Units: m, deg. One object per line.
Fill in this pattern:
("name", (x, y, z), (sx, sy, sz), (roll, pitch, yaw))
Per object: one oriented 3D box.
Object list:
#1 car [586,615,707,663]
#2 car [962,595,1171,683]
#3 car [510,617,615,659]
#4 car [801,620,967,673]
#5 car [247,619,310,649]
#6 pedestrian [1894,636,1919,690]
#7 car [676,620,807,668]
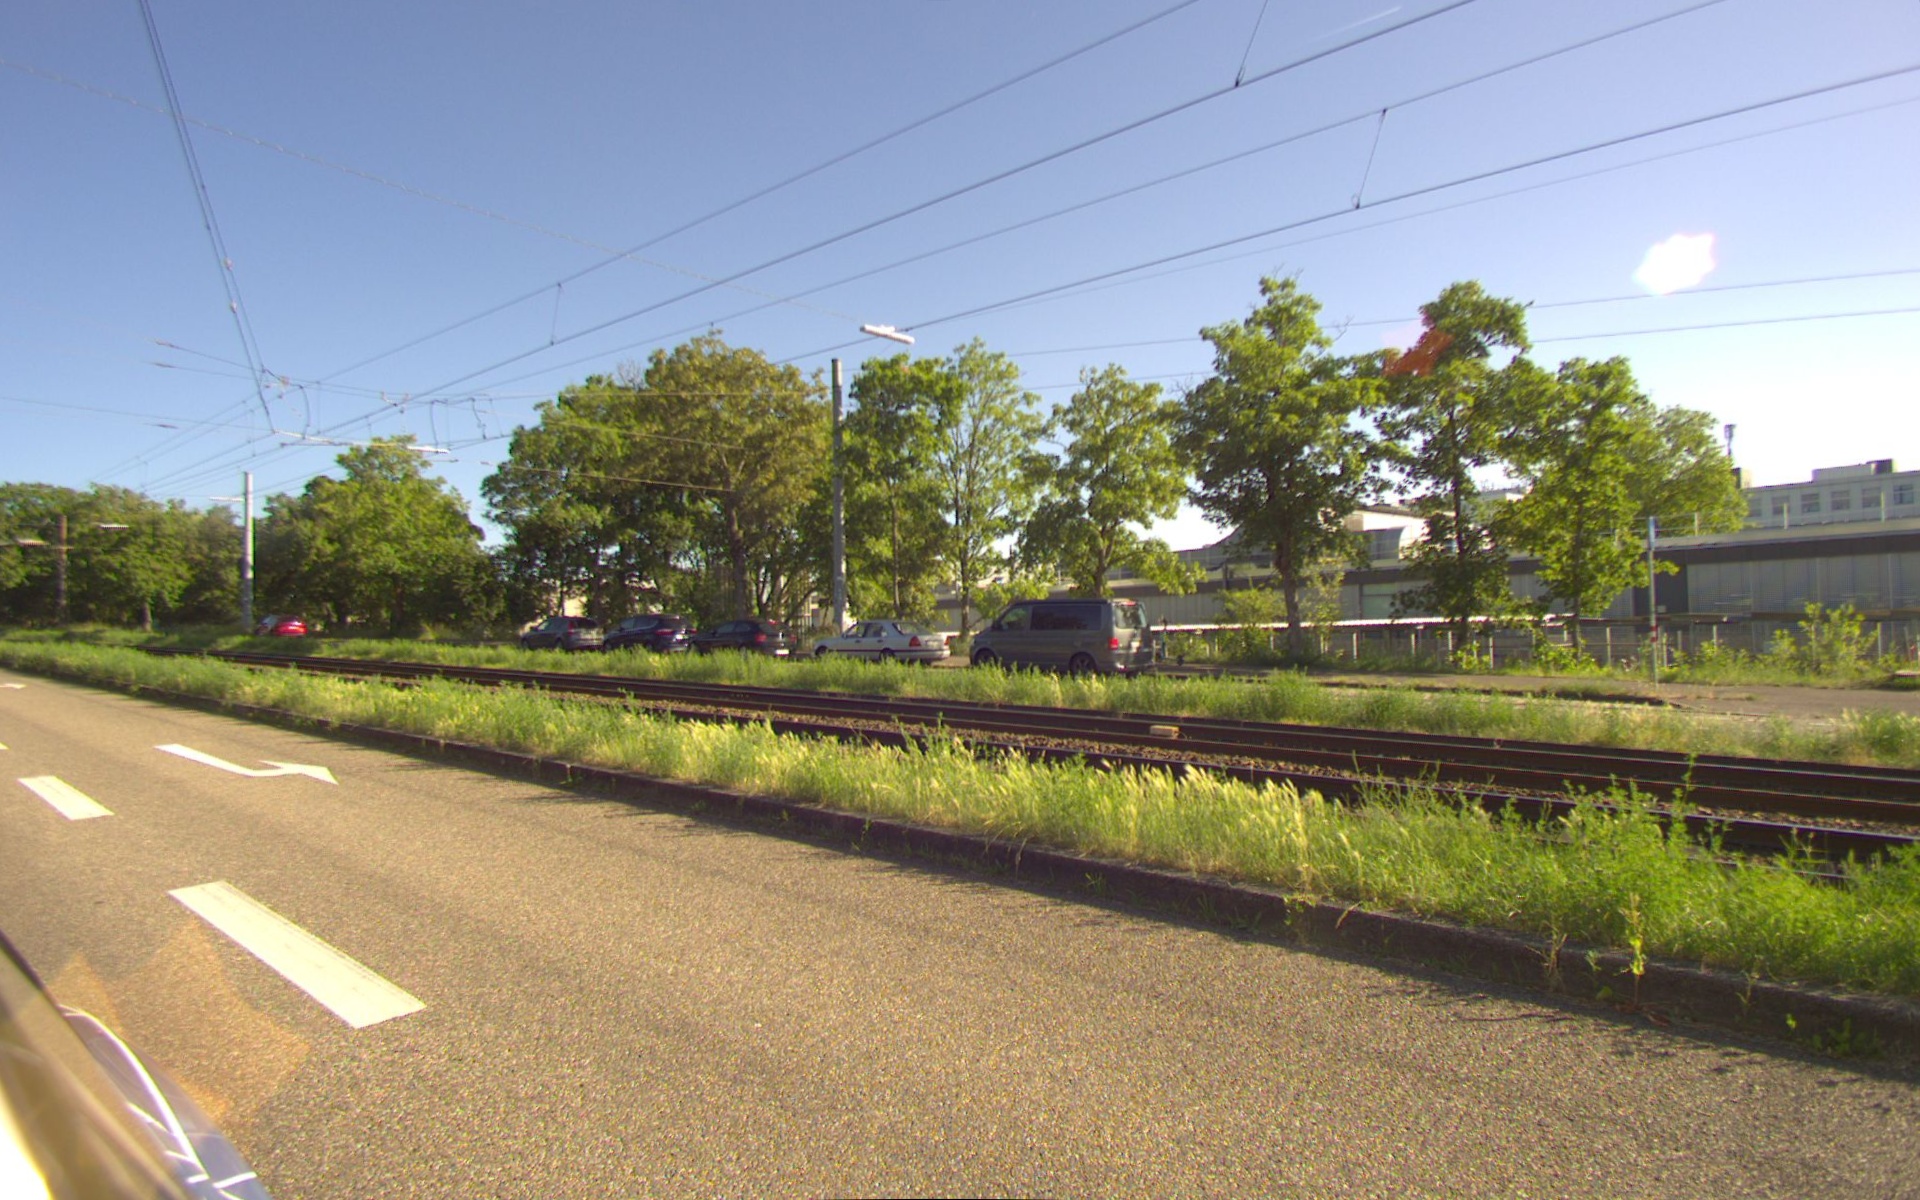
("car", (-11.430, 1.395, 36.787), (4.614, 1.599, 2.102), (-2, -1, 41))
("car", (2.526, 0.927, 24.746), (4.684, 1.949, 2.178), (-2, -1, 42))
("car", (-16.260, 1.527, 41.264), (4.557, 1.575, 2.103), (-2, -1, 41))
("car", (-2.258, 1.316, 29.227), (4.612, 1.391, 2.103), (-2, -1, 40))
("car", (-42.453, 2.088, 62.992), (4.797, 1.746, 2.290), (-2, -1, 43))
("pedestrian", (23.539, 1.542, 25.018), (0.435, 1.310, 0.441), (-1, -2, -1))
("car", (-7.236, 1.428, 33.235), (4.486, 1.437, 1.935), (-2, -1, 42))
